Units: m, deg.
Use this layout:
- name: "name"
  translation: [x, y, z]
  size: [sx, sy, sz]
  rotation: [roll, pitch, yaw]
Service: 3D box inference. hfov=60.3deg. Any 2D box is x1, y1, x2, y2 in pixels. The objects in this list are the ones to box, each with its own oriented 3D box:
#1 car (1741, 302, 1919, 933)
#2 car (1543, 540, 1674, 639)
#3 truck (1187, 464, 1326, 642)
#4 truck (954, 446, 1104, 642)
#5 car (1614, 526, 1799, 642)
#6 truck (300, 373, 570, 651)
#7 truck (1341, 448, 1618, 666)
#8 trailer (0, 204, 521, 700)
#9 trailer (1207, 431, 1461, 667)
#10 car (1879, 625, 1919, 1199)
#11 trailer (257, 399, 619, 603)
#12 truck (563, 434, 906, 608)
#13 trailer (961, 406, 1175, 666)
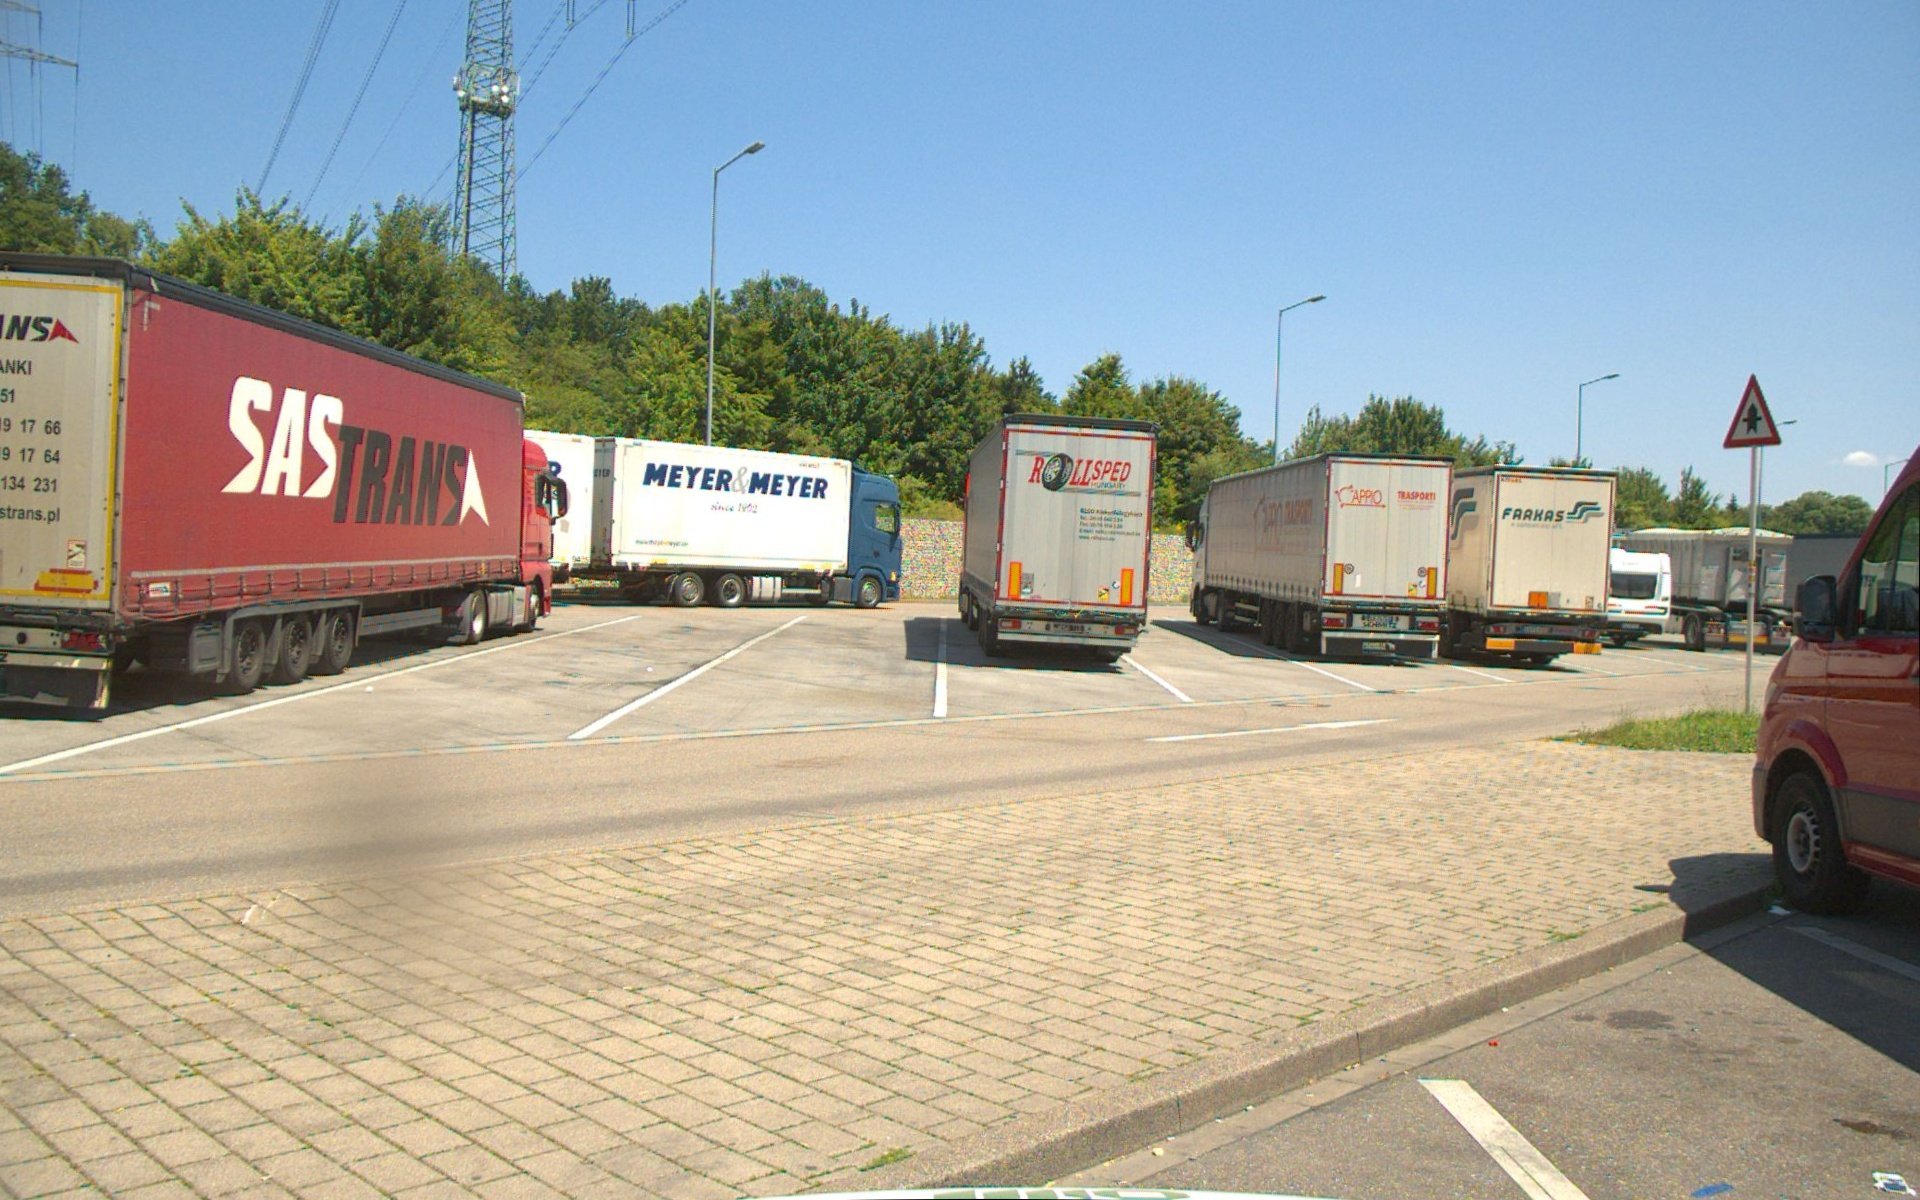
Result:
- name: "car"
  translation: [4.985, 0.108, 5.545]
  size: [1.952, 2.679, 6.385]
  rotation: [1, 1, 3]
- name: "car"
  translation: [18.237, -0.271, 46.737]
  size: [2.072, 2.645, 3.999]
  rotation: [1, 0, -1]
- name: "truck"
  translation: [8.024, -1.250, 45.392]
  size: [2.607, 4.530, 5.863]
  rotation: [1, 1, -1]
- name: "truck"
  translation: [1.439, -1.234, 37.734]
  size: [2.814, 4.050, 6.026]
  rotation: [1, 1, -3]
- name: "car"
  translation: [21.702, -0.500, 48.495]
  size: [2.448, 3.128, 6.350]
  rotation: [1, 1, -1]
- name: "truck"
  translation: [-8.724, -1.397, 28.241]
  size: [2.749, 4.205, 5.893]
  rotation: [1, 1, -1]
- name: "truck"
  translation: [11.718, -0.836, 38.891]
  size: [2.534, 4.299, 11.967]
  rotation: [1, 0, -1]
- name: "trailer"
  translation: [-8.634, -1.417, 20.983]
  size: [2.743, 4.293, 13.200]
  rotation: [1, 1, -1]
- name: "trailer"
  translation: [8.177, -1.099, 38.335]
  size: [2.627, 4.530, 12.826]
  rotation: [1, 1, -1]
- name: "car"
  translation: [2.618, 0.795, 1.034]
  size: [1.743, 1.483, 3.680]
  rotation: [1, 0, -7]
- name: "trailer"
  translation: [-11.758, -2.062, 38.008]
  size: [2.225, 4.138, 7.836]
  rotation: [0, -1, 42]
- name: "truck"
  translation: [-5.776, -1.933, 44.602]
  size: [2.203, 4.104, 9.989]
  rotation: [2, 0, 43]
- name: "trailer"
  translation: [1.721, -1.122, 31.904]
  size: [2.839, 4.083, 11.312]
  rotation: [1, 1, -3]
